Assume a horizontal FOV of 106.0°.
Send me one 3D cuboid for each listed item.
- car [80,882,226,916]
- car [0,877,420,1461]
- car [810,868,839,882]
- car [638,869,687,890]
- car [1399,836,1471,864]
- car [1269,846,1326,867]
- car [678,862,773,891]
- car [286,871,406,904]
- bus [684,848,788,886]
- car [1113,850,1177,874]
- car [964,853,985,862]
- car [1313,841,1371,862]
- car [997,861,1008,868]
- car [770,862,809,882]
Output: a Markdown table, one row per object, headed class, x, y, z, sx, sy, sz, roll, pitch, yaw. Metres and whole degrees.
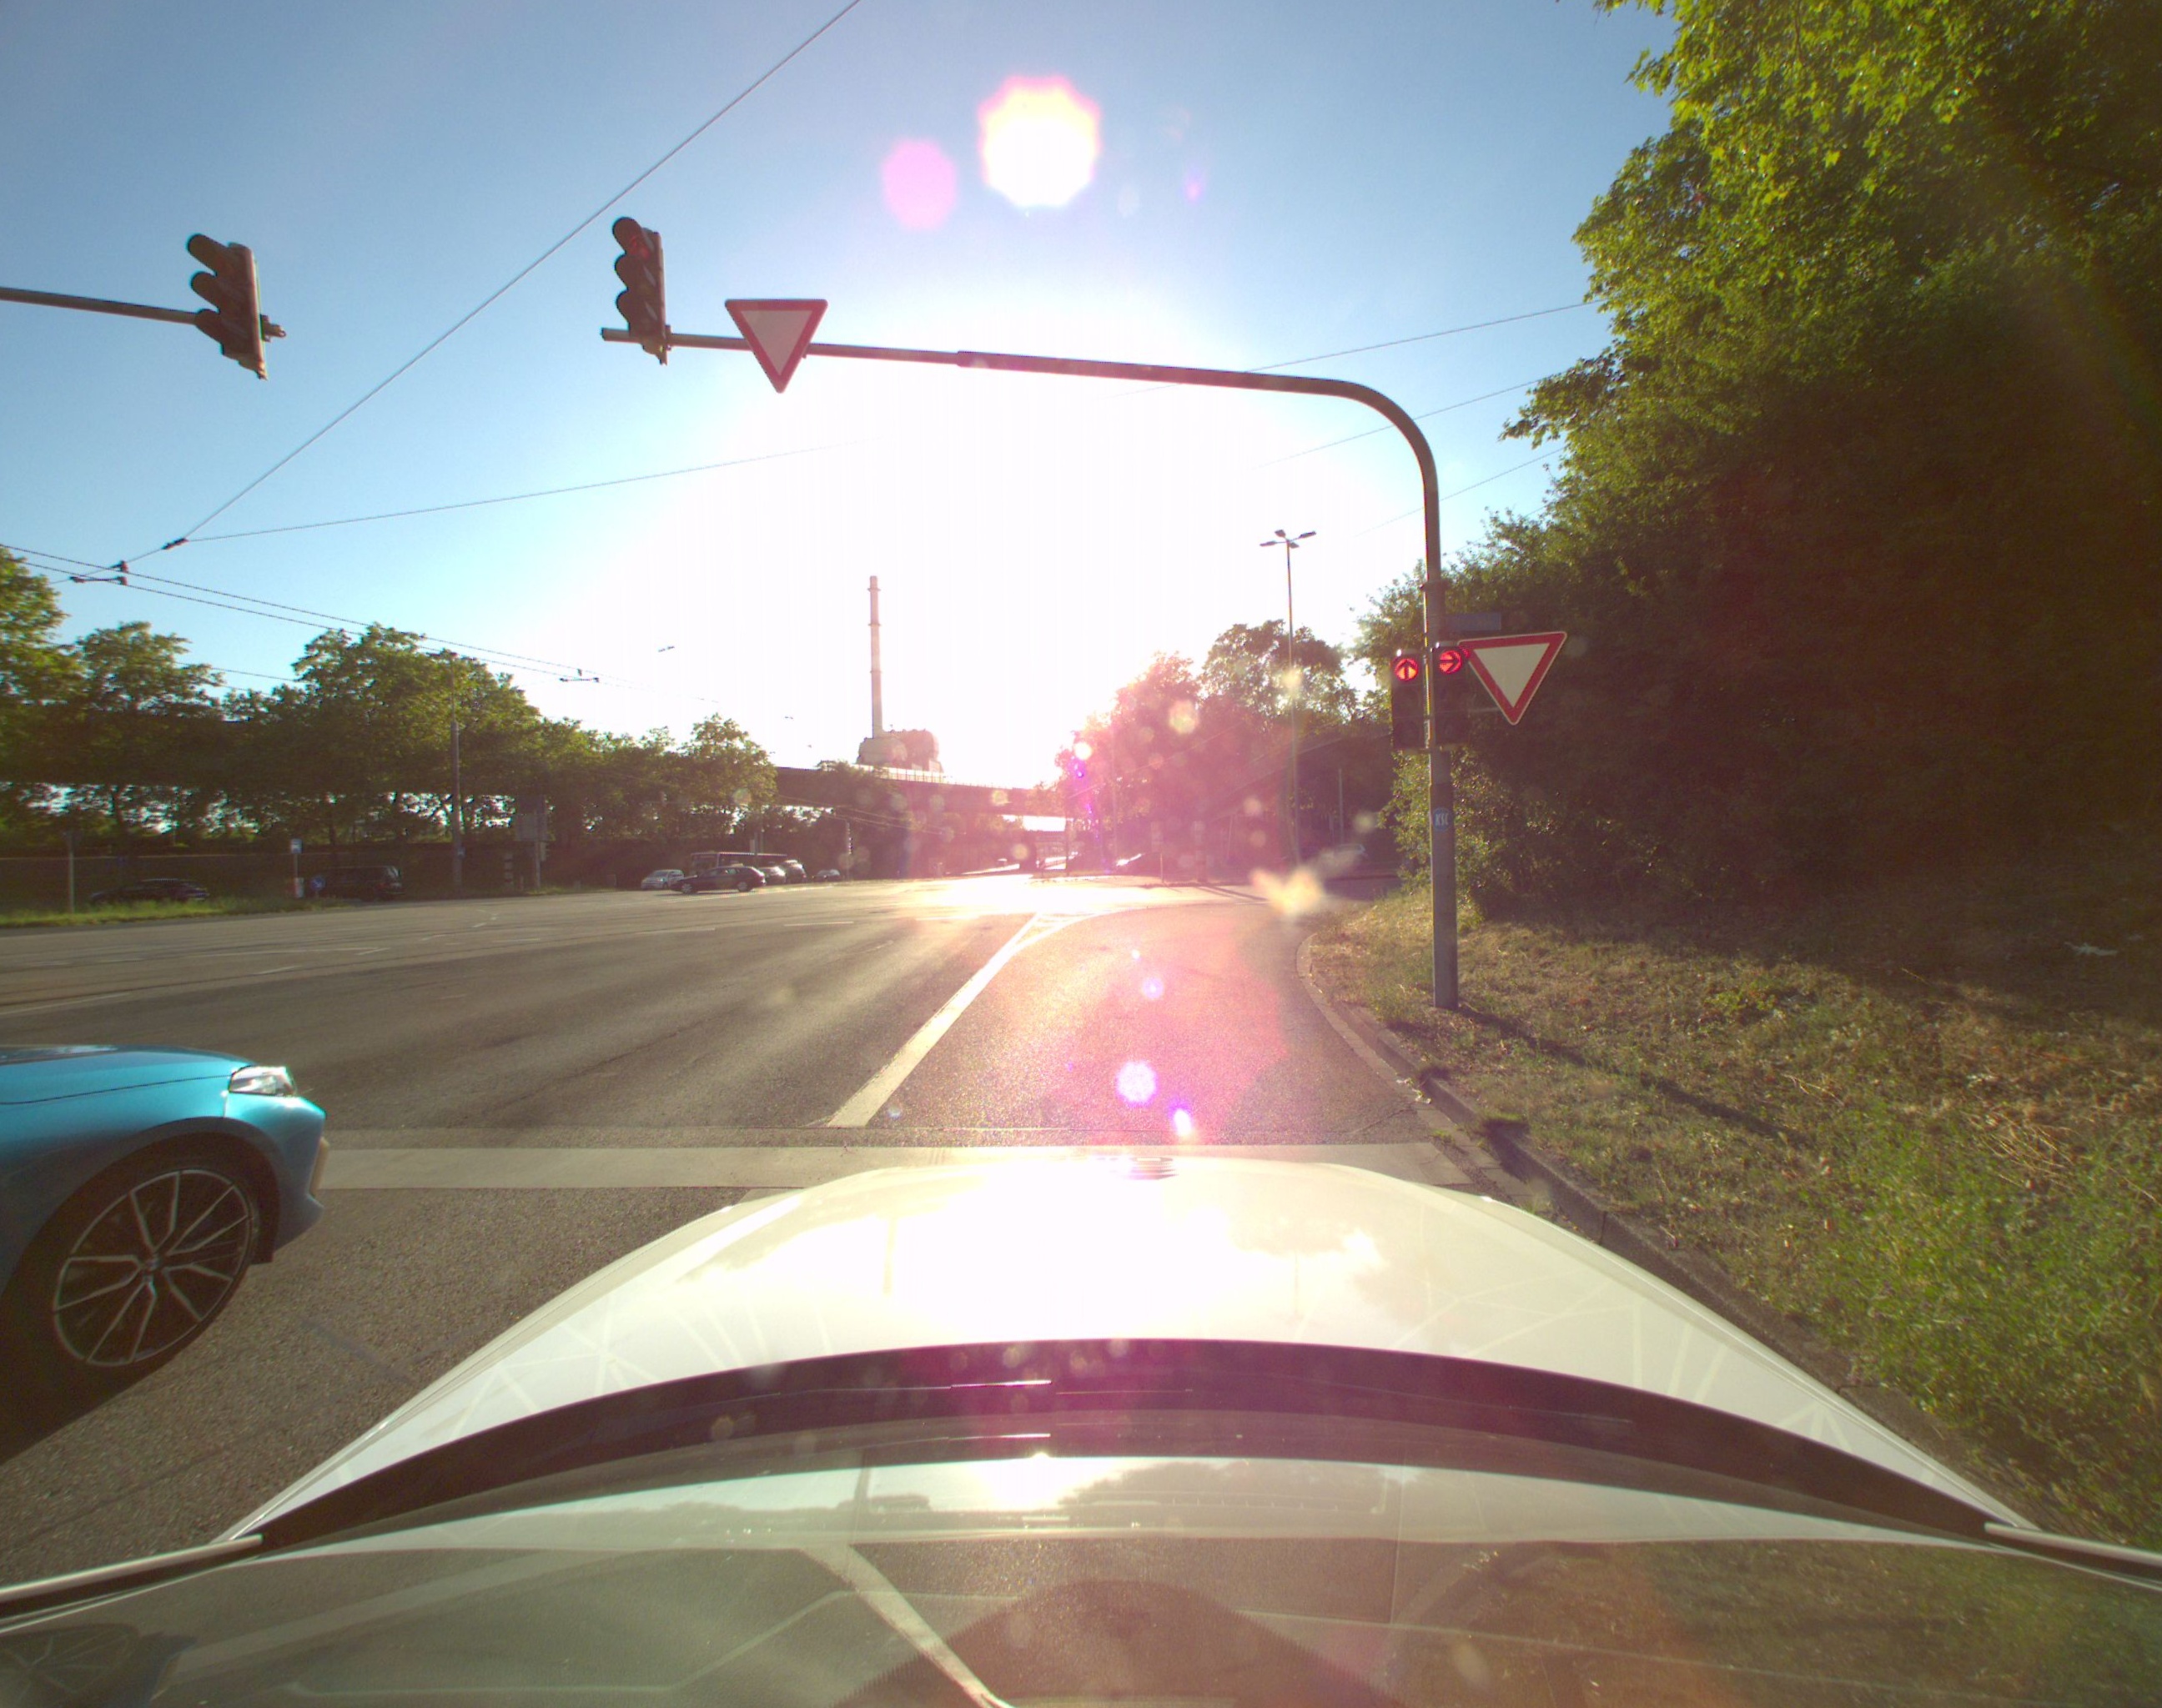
| class | x | y | z | sx | sy | sz | roll | pitch | yaw |
| --- | --- | --- | --- | --- | --- | --- | --- | --- | --- |
| car | -45.442 | 2.178 | 39.989 | 4.515 | 1.454 | 1.995 | -1 | 0 | -7 |
| car | -3.571 | 0.811 | 1.054 | 1.779 | 1.417 | 4.511 | -1 | 0 | -1 |
| car | -27.769 | 2.252 | 88.138 | 1.693 | 1.442 | 4.002 | -1 | 0 | 2 |
| car | -30.098 | 1.819 | 58.712 | 1.599 | 1.354 | 3.734 | -1 | 0 | 0 |
| car | 26.064 | -0.299 | 60.024 | 4.703 | 1.905 | 1.988 | -1 | 0 | -18 |
| car | 15.943 | 0.197 | 60.012 | 3.730 | 1.422 | 1.687 | -1 | 0 | -17 |
| car | -19.560 | 1.223 | 45.011 | 4.529 | 1.454 | 1.989 | -1 | 0 | -16 |
| car | -40.195 | 1.814 | 44.635 | 4.517 | 1.623 | 1.995 | -1 | 0 | -8 |
| bus | -29.538 | 1.042 | 70.684 | 2.810 | 2.954 | 12.866 | -1 | 0 | 4 |
| car | 4.051 | 0.515 | 51.777 | 3.730 | 1.422 | 1.687 | -1 | 0 | -17 |
| car | -21.652 | 0.693 | 165.839 | 1.974 | 1.771 | 4.025 | -1 | -1 | 34 |
| car | 21.509 | -0.221 | 67.199 | 4.198 | 1.652 | 1.714 | -1 | 0 | -5 |
| car | -17.770 | 2.352 | 183.778 | 1.703 | 1.652 | 4.101 | -1 | 0 | 5 |
| car | -25.547 | 1.566 | 71.523 | 1.704 | 1.652 | 4.097 | -1 | 0 | 2 |
